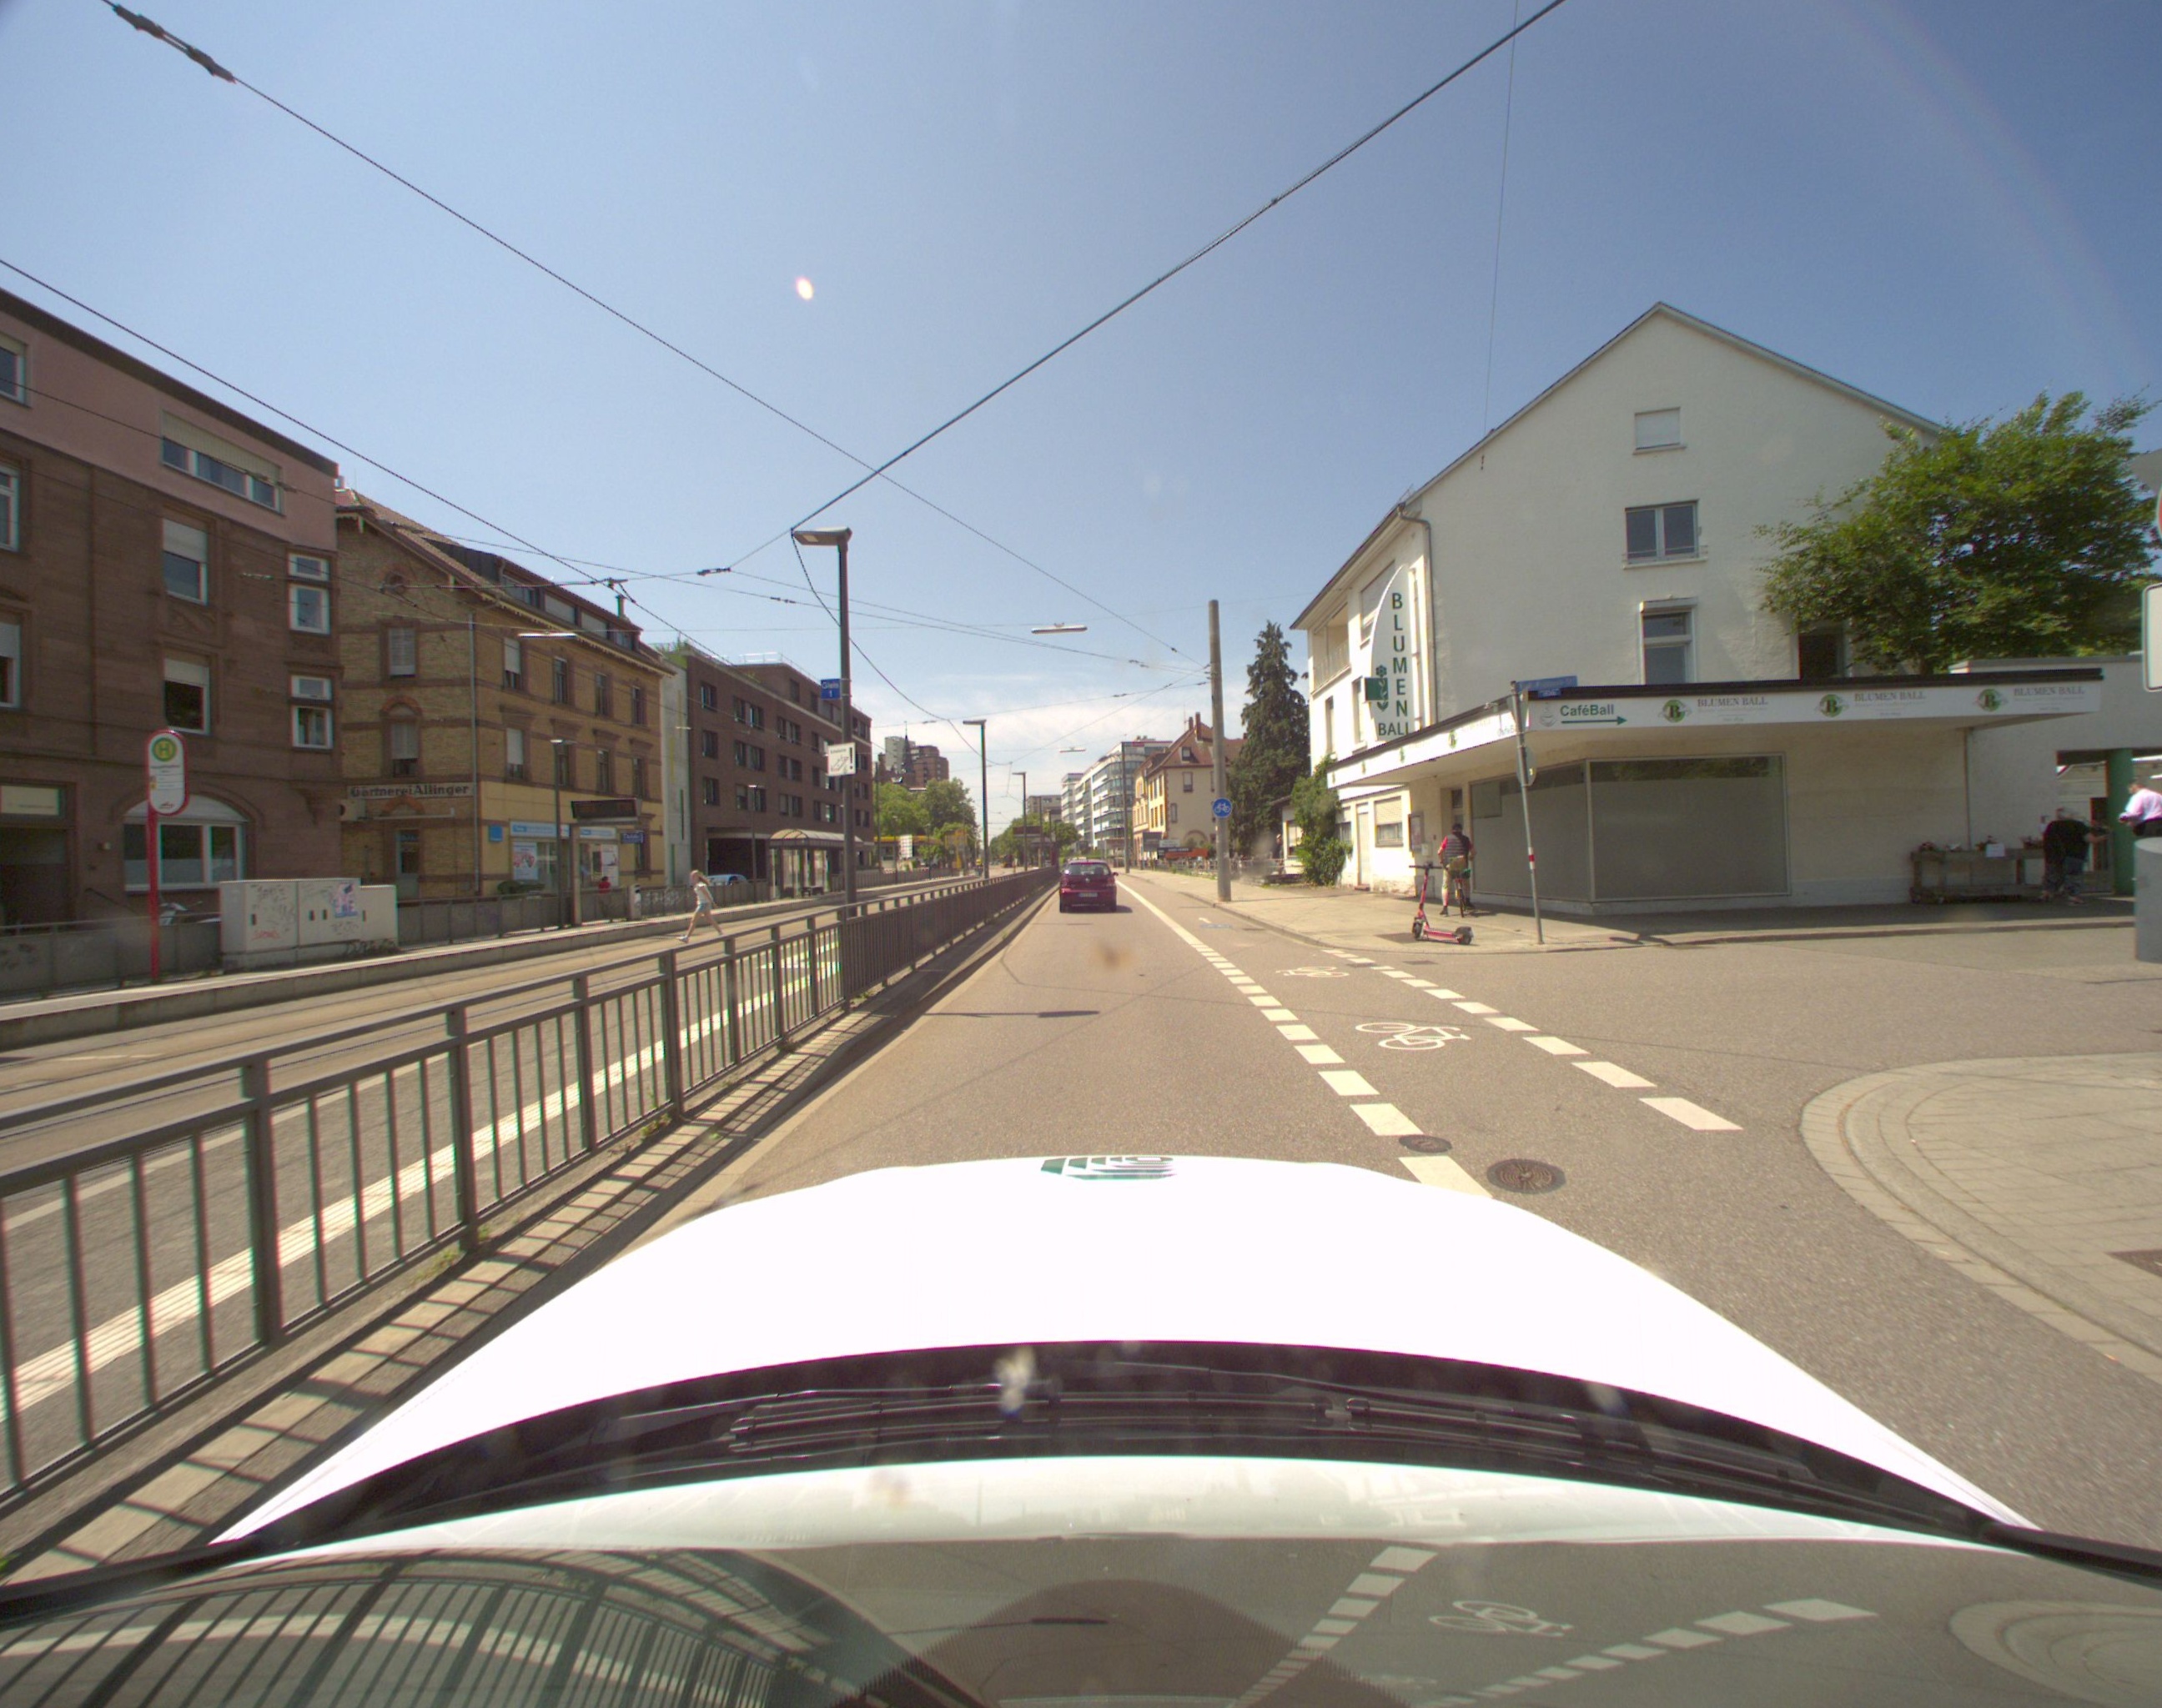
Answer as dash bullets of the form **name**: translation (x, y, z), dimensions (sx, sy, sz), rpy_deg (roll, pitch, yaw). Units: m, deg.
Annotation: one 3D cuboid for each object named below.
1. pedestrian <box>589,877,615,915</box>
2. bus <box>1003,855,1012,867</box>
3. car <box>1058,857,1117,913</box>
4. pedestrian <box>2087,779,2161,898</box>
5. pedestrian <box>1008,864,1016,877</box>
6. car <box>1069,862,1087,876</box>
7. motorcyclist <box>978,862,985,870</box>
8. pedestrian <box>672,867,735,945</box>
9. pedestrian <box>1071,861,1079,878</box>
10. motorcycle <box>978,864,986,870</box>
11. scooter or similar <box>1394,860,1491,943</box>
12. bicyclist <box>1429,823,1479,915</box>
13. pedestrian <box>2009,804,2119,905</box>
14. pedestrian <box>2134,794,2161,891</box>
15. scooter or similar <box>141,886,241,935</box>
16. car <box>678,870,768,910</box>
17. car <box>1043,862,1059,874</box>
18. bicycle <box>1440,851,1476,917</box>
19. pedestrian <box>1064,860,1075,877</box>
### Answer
- **pedestrian**: translation (-20.098, 1.759, 34.182), dimensions (0.612, 1.560, 0.640), rpy_deg (-3, 0, 0)
- **bus**: translation (-18.981, 1.907, 211.053), dimensions (2.142, 3.003, 6.559), rpy_deg (-2, -1, -6)
- **car**: translation (0.169, 0.856, 23.681), dimensions (1.556, 1.453, 3.061), rpy_deg (-2, -1, 0)
- **pedestrian**: translation (17.576, -0.253, 13.462), dimensions (0.853, 1.904, 0.749), rpy_deg (-2, -1, 1)
- **pedestrian**: translation (-10.511, 2.526, 123.627), dimensions (1.105, 2.014, 1.039), rpy_deg (-2, -1, 1)
- **car**: translation (-0.392, 1.858, 102.257), dimensions (1.989, 1.624, 4.627), rpy_deg (-2, -1, -3)
- **motorcyclist**: translation (-14.511, 1.710, 119.139), dimensions (0.846, 1.139, 0.634), rpy_deg (-3, 0, 0)
- **pedestrian**: translation (-8.560, 1.157, 18.473), dimensions (1.105, 1.674, 0.757), rpy_deg (-2, -1, -38)
- **pedestrian**: translation (-0.649, 1.658, 89.774), dimensions (0.743, 1.836, 0.791), rpy_deg (-3, 0, -2)
- **motorcycle**: translation (-14.501, 1.866, 119.162), dimensions (0.869, 0.806, 1.910), rpy_deg (-3, 0, 1)
- **scooter or similar**: translation (5.453, 0.699, 12.374), dimensions (0.341, 1.178, 1.456), rpy_deg (-2, -1, -23)
- **bicyclist**: translation (7.415, 0.293, 16.205), dimensions (0.721, 1.760, 0.928), rpy_deg (-3, 0, 17)
- **pedestrian**: translation (15.808, 0.000, 13.116), dimensions (0.908, 1.542, 0.707), rpy_deg (-2, 1, 1)
- **pedestrian**: translation (18.223, -0.203, 13.570), dimensions (0.475, 1.612, 0.627), rpy_deg (-2, -1, 2)
- **scooter or similar**: translation (-21.861, 1.366, 20.047), dimensions (0.484, 1.082, 1.584), rpy_deg (-3, 0, 17)
- **car**: translation (-15.597, 1.522, 35.732), dimensions (1.985, 1.508, 4.003), rpy_deg (-3, 0, 3)
- **car**: translation (-4.847, 2.257, 130.938), dimensions (1.994, 1.849, 3.985), rpy_deg (-3, 0, -11)
- **bicycle**: translation (7.406, 0.564, 16.054), dimensions (0.372, 1.197, 1.914), rpy_deg (-3, 0, 18)
- **pedestrian**: translation (-1.309, 1.646, 91.099), dimensions (1.166, 1.836, 0.791), rpy_deg (-3, 0, -3)
